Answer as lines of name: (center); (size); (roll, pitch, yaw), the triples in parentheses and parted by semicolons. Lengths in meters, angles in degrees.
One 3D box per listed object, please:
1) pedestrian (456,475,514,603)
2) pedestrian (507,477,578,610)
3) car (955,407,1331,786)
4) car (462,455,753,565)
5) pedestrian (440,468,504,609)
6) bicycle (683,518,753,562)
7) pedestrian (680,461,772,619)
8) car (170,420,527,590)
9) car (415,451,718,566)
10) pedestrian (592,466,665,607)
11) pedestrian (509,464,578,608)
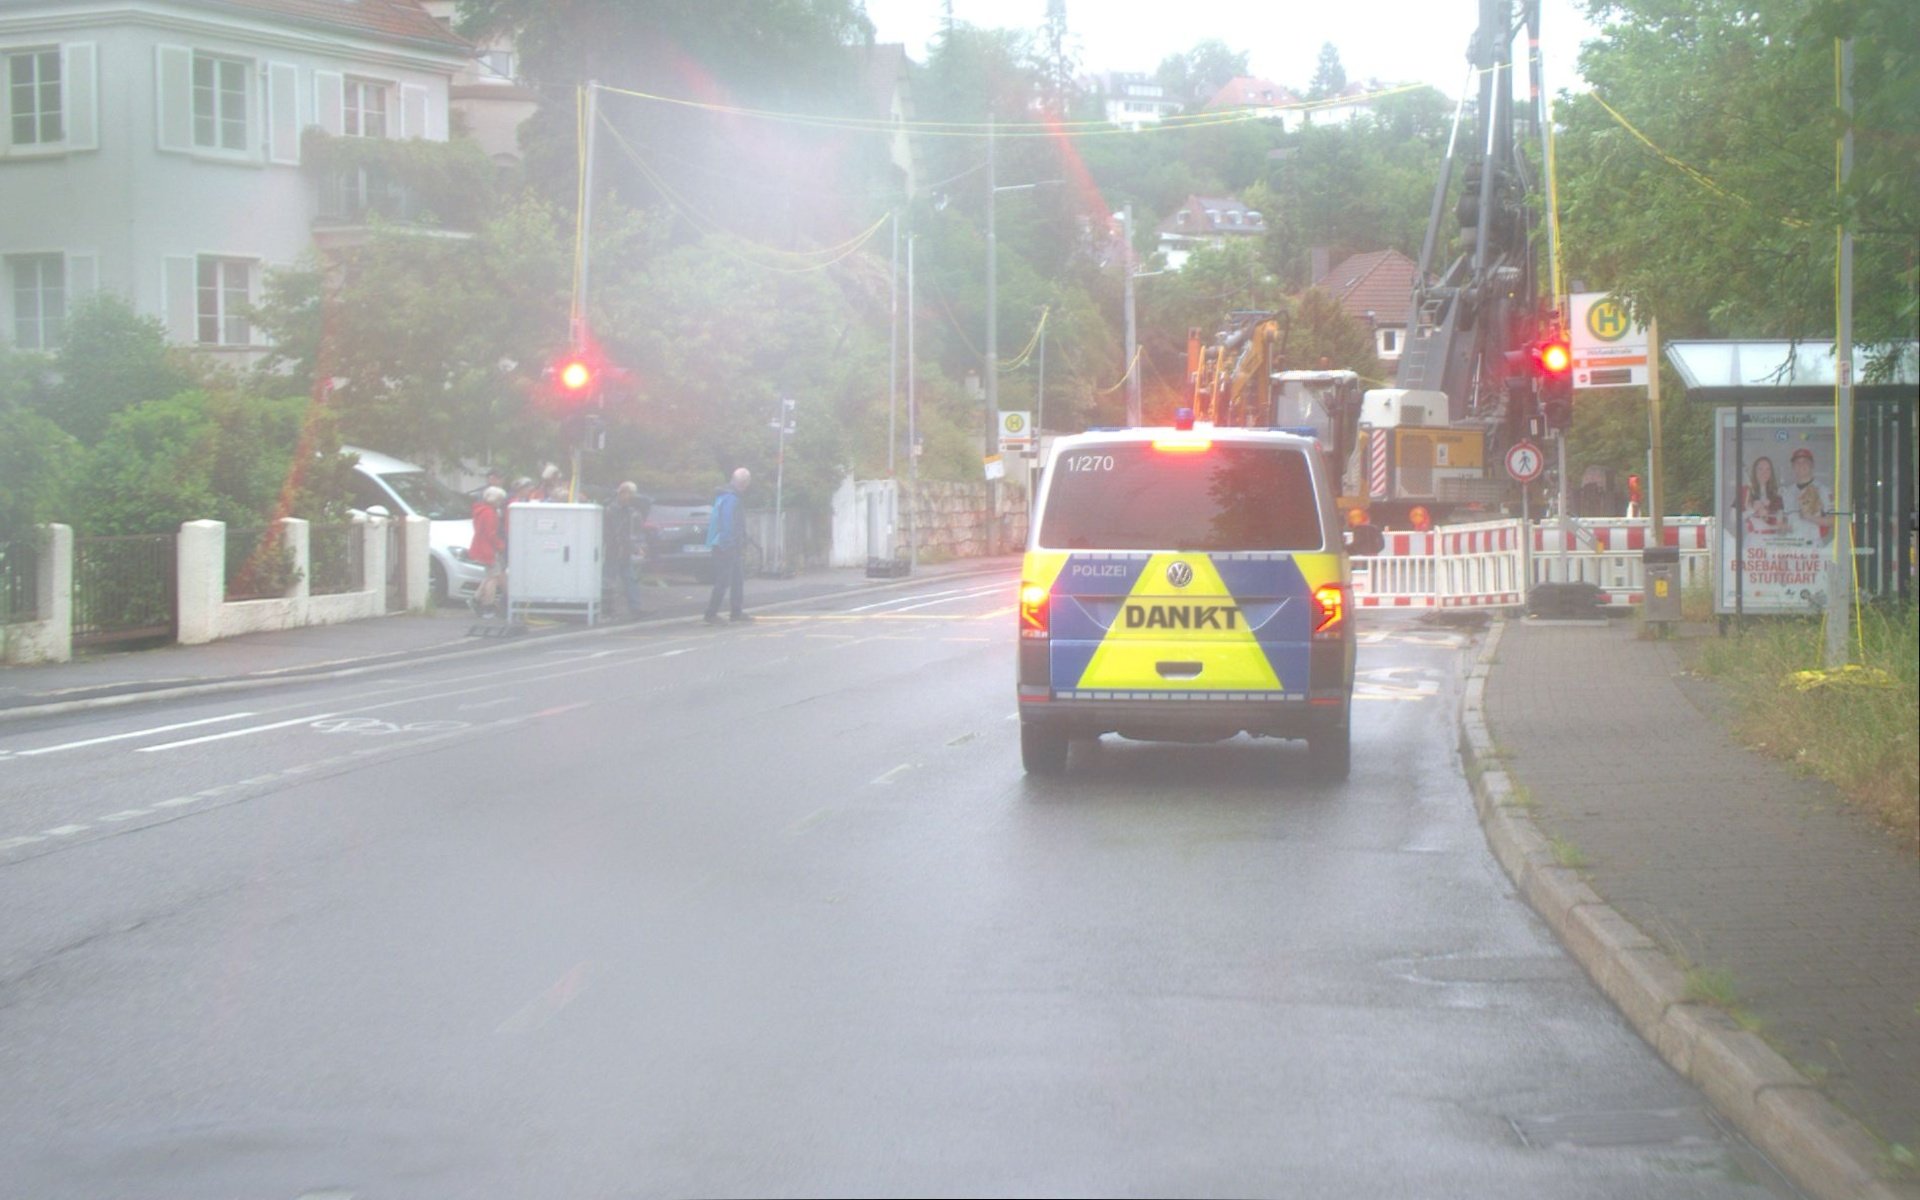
pedestrian: (-5.675, -0.724, 41.072); (0.525, 1.501, 0.429); (2, 0, 8)
pedestrian: (-4.867, -0.653, 40.117); (0.626, 1.516, 0.592); (2, 0, 8)
car: (1.172, -0.113, 20.460); (1.994, 2.006, 4.401); (0, 2, 5)
car: (-5.365, -1.371, 52.442); (3.990, 1.481, 1.758); (2, 0, 17)
pedestrian: (-5.600, -0.702, 39.468); (0.563, 1.577, 0.468); (2, 0, 8)
bicycle: (-3.893, -0.960, 55.243); (1.054, 0.660, 0.320); (2, 0, 16)
pedestrian: (-2.712, -0.684, 39.924); (0.890, 1.781, 0.828); (2, 0, 5)
car: (-7.644, -1.201, 43.036); (3.990, 2.006, 1.829); (2, 2, 17)
car: (-5.749, -1.339, 50.322); (3.990, 1.481, 1.758); (2, 0, 17)
pedestrian: (-3.841, -0.732, 39.875); (0.686, 1.598, 0.605); (2, 0, 5)
pedestrian: (-5.017, -0.768, 41.470); (0.626, 1.709, 0.592); (2, 0, 8)
